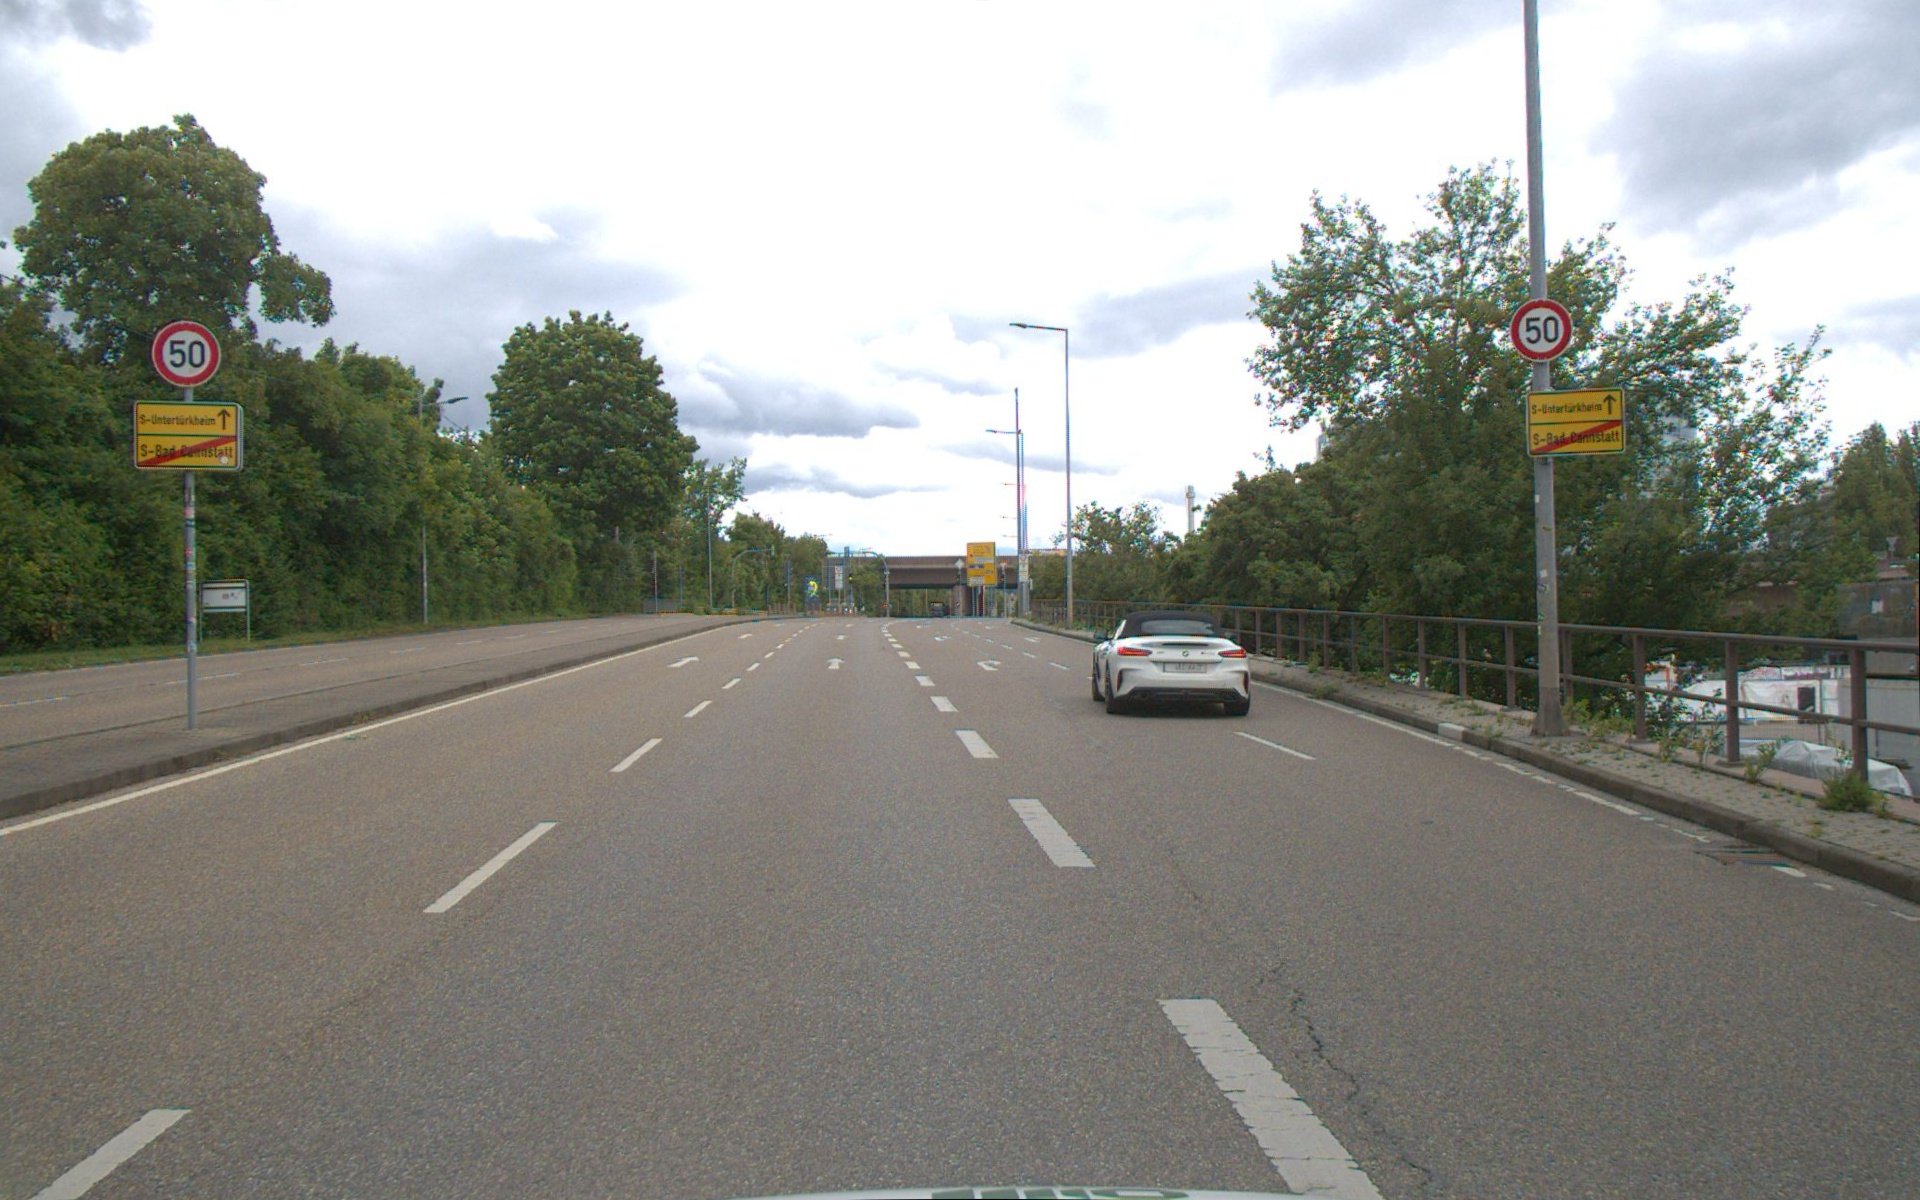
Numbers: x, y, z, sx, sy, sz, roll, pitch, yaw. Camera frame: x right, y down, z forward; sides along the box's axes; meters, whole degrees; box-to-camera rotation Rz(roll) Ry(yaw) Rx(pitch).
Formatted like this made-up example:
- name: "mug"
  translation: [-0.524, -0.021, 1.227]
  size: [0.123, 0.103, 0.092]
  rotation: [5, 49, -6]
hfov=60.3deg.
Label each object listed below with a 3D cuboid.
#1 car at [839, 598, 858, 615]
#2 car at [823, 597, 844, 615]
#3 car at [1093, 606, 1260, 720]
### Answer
- name: "car"
  translation: [-11.692, 0.677, 173.223]
  size: [1.735, 1.661, 3.824]
  rotation: [1, -1, 0]
- name: "car"
  translation: [-12.371, 0.621, 161.494]
  size: [1.735, 1.674, 3.824]
  rotation: [1, -1, 0]
- name: "car"
  translation: [2.814, 0.780, 22.263]
  size: [1.836, 1.332, 3.874]
  rotation: [1, 0, 2]
